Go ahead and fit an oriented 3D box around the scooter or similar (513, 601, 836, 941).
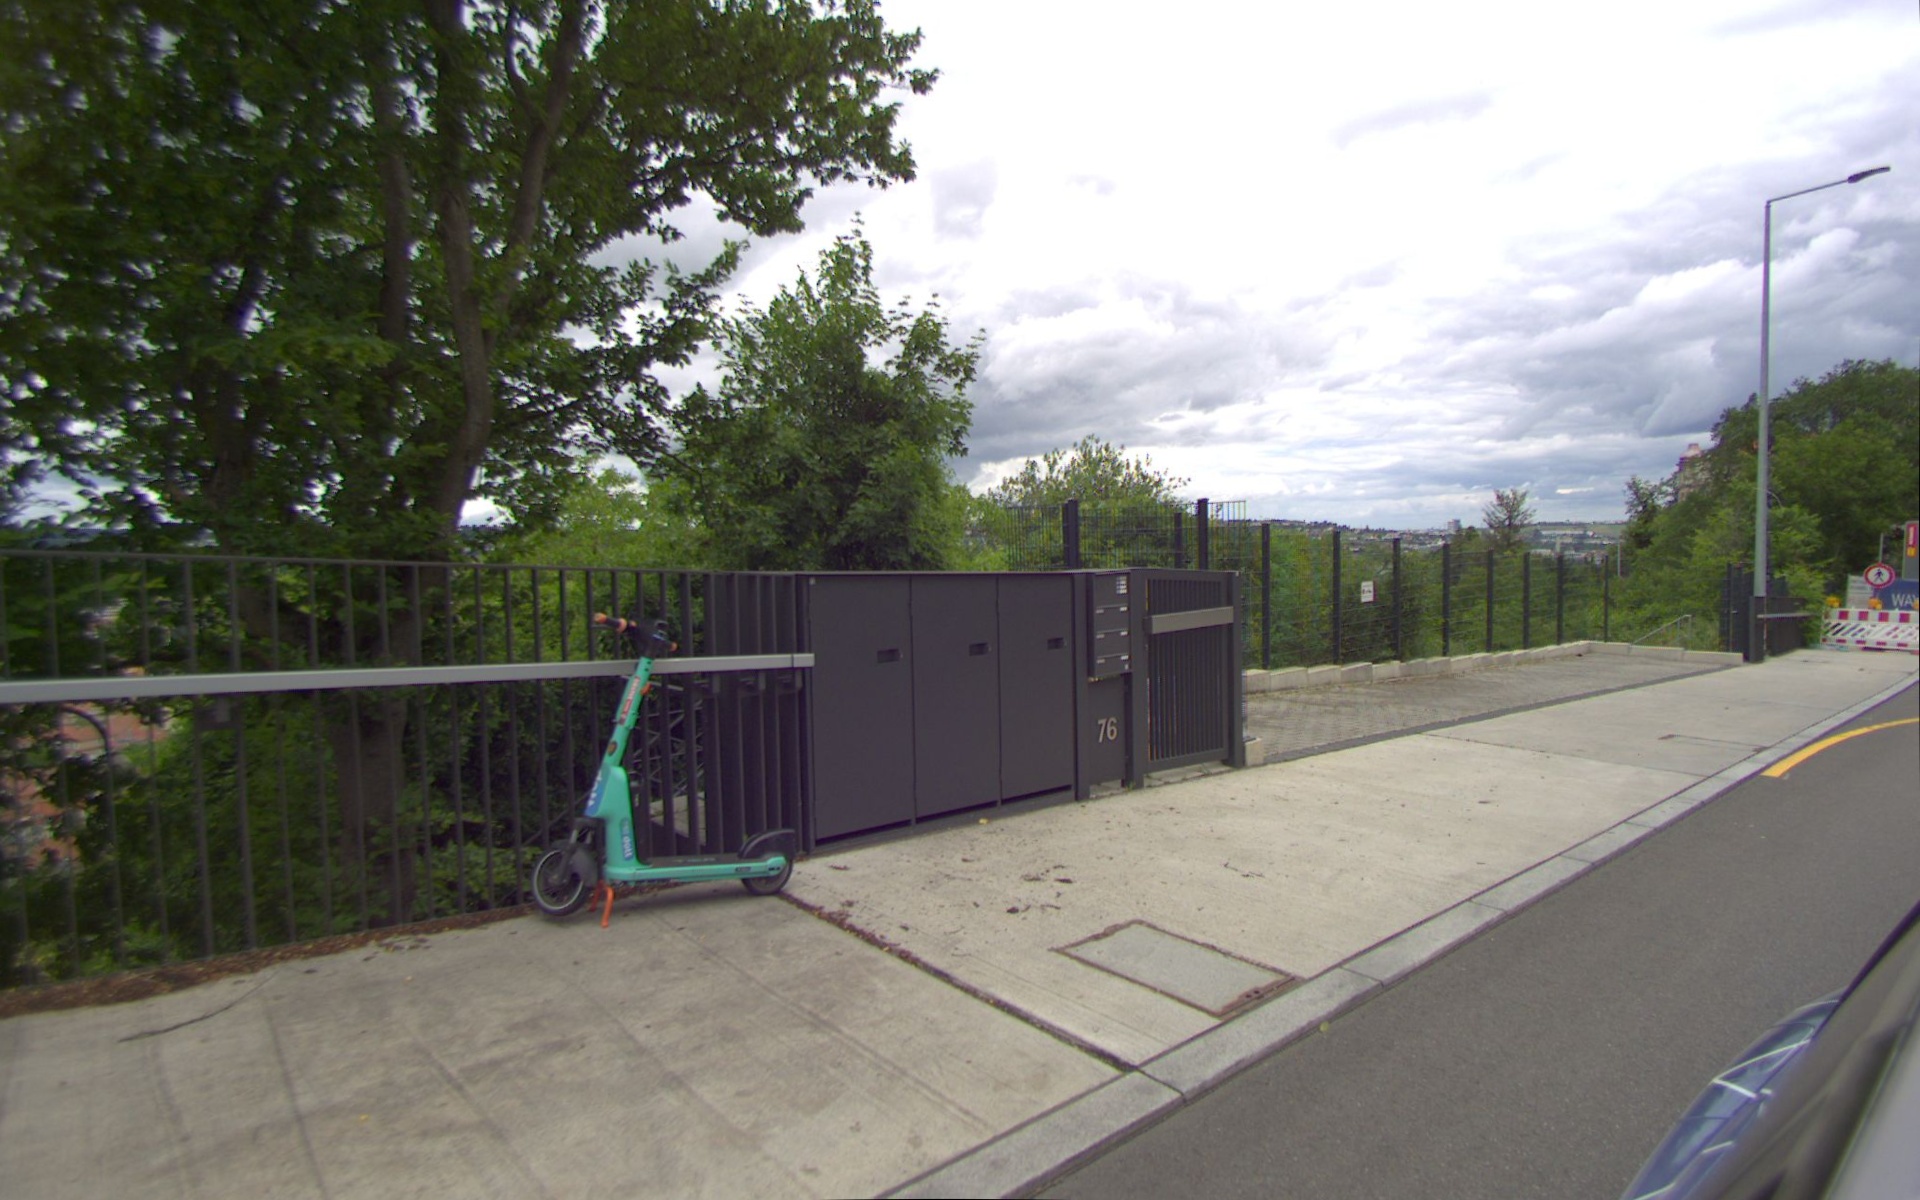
[{"bbox_3d":[-1.203,0.646,4.325,1.183,1.241,0.536,1,1,-36],"label":"scooter or similar"}]
